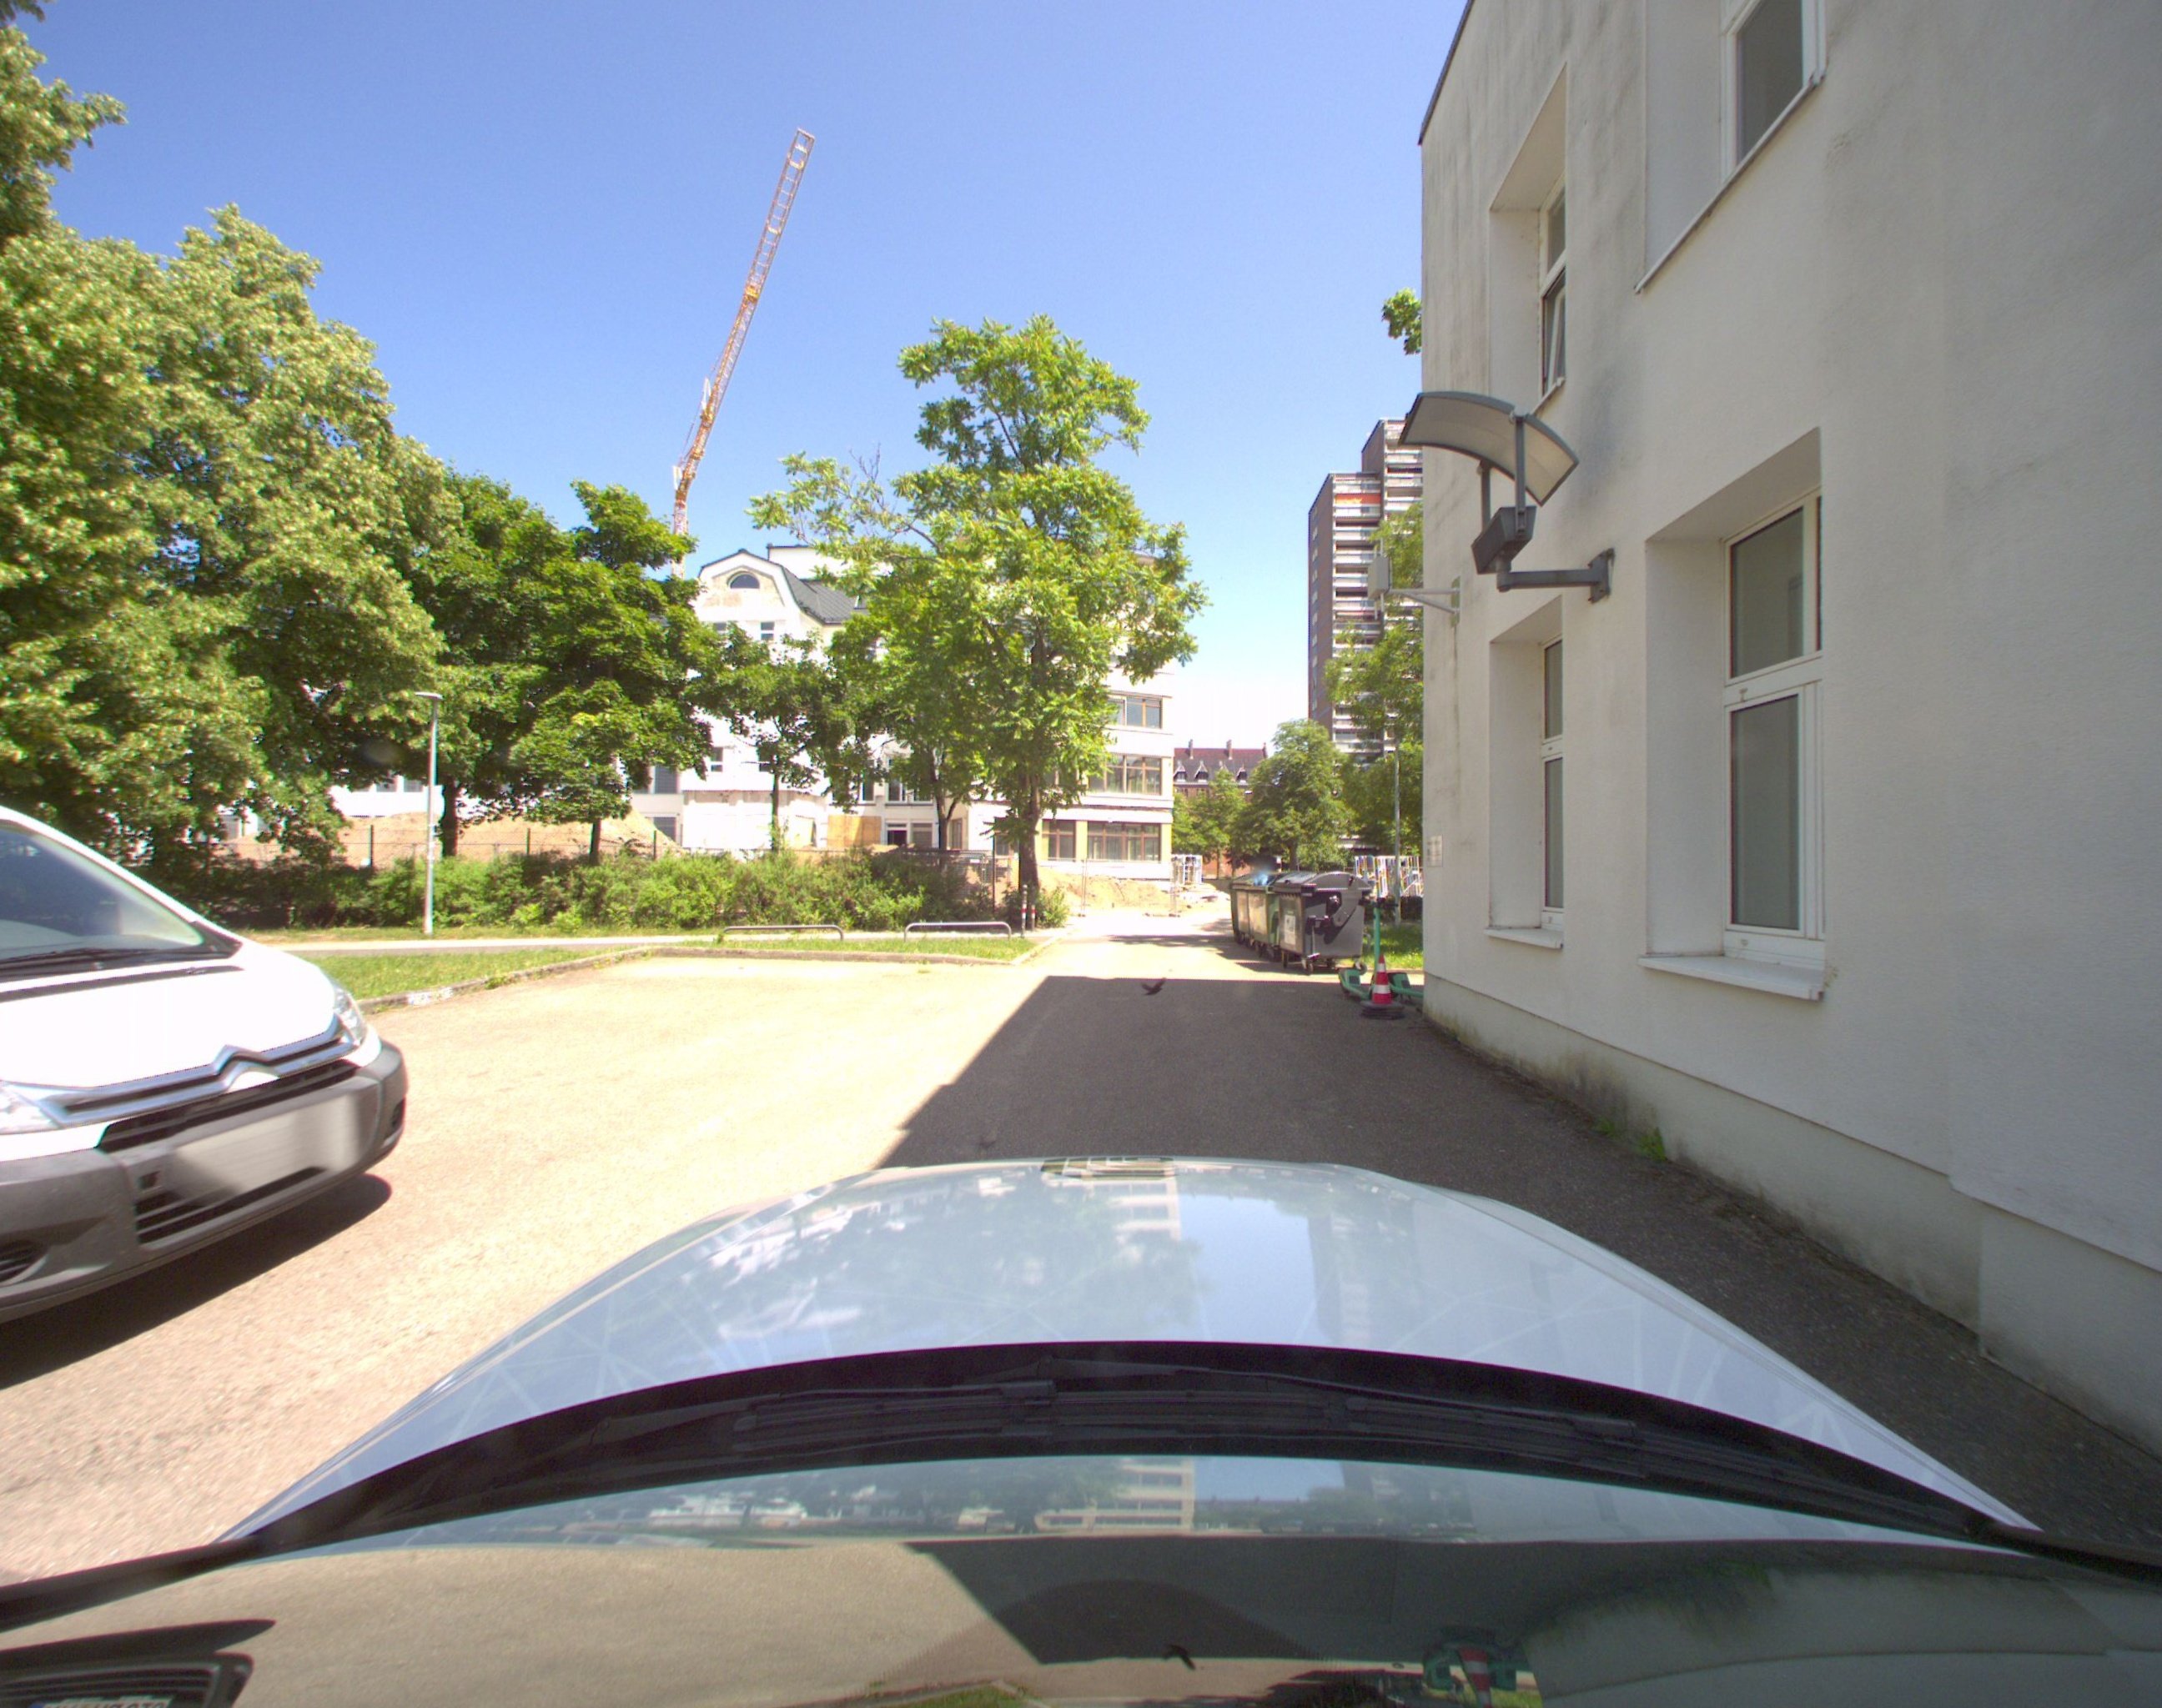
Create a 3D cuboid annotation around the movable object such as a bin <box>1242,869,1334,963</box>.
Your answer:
[{"bbox_3d":[3.428,1.008,13.636,1.176,1.470,1.310,1,-2,-2],"label":"movable object such as a bin"}]

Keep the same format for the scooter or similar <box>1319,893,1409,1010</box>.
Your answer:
[{"bbox_3d":[3.135,1.049,9.134,0.462,1.174,1.355,1,-2,-4],"label":"scooter or similar"}]

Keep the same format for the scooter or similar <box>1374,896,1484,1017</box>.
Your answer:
[{"bbox_3d":[3.745,1.063,8.850,0.464,1.174,1.250,1,-2,-13],"label":"scooter or similar"}]

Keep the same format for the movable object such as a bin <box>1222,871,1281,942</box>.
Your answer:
[{"bbox_3d":[3.790,1.133,17.990,1.170,1.470,1.338,1,-2,16],"label":"movable object such as a bin"}]

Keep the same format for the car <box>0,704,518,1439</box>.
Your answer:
[{"bbox_3d":[-5.196,0.561,3.008,4.774,1.911,1.999,0,0,-1],"label":"car"}]

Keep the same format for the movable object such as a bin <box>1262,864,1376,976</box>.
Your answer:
[{"bbox_3d":[3.437,0.932,11.897,1.153,1.505,1.460,1,-2,-5],"label":"movable object such as a bin"}]

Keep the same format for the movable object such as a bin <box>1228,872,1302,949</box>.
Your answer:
[{"bbox_3d":[3.683,1.112,16.452,1.175,1.470,1.311,1,-2,-1],"label":"movable object such as a bin"}]

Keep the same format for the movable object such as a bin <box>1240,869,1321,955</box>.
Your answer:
[{"bbox_3d":[3.641,1.046,15.011,1.175,1.470,1.311,1,-2,0],"label":"movable object such as a bin"}]
